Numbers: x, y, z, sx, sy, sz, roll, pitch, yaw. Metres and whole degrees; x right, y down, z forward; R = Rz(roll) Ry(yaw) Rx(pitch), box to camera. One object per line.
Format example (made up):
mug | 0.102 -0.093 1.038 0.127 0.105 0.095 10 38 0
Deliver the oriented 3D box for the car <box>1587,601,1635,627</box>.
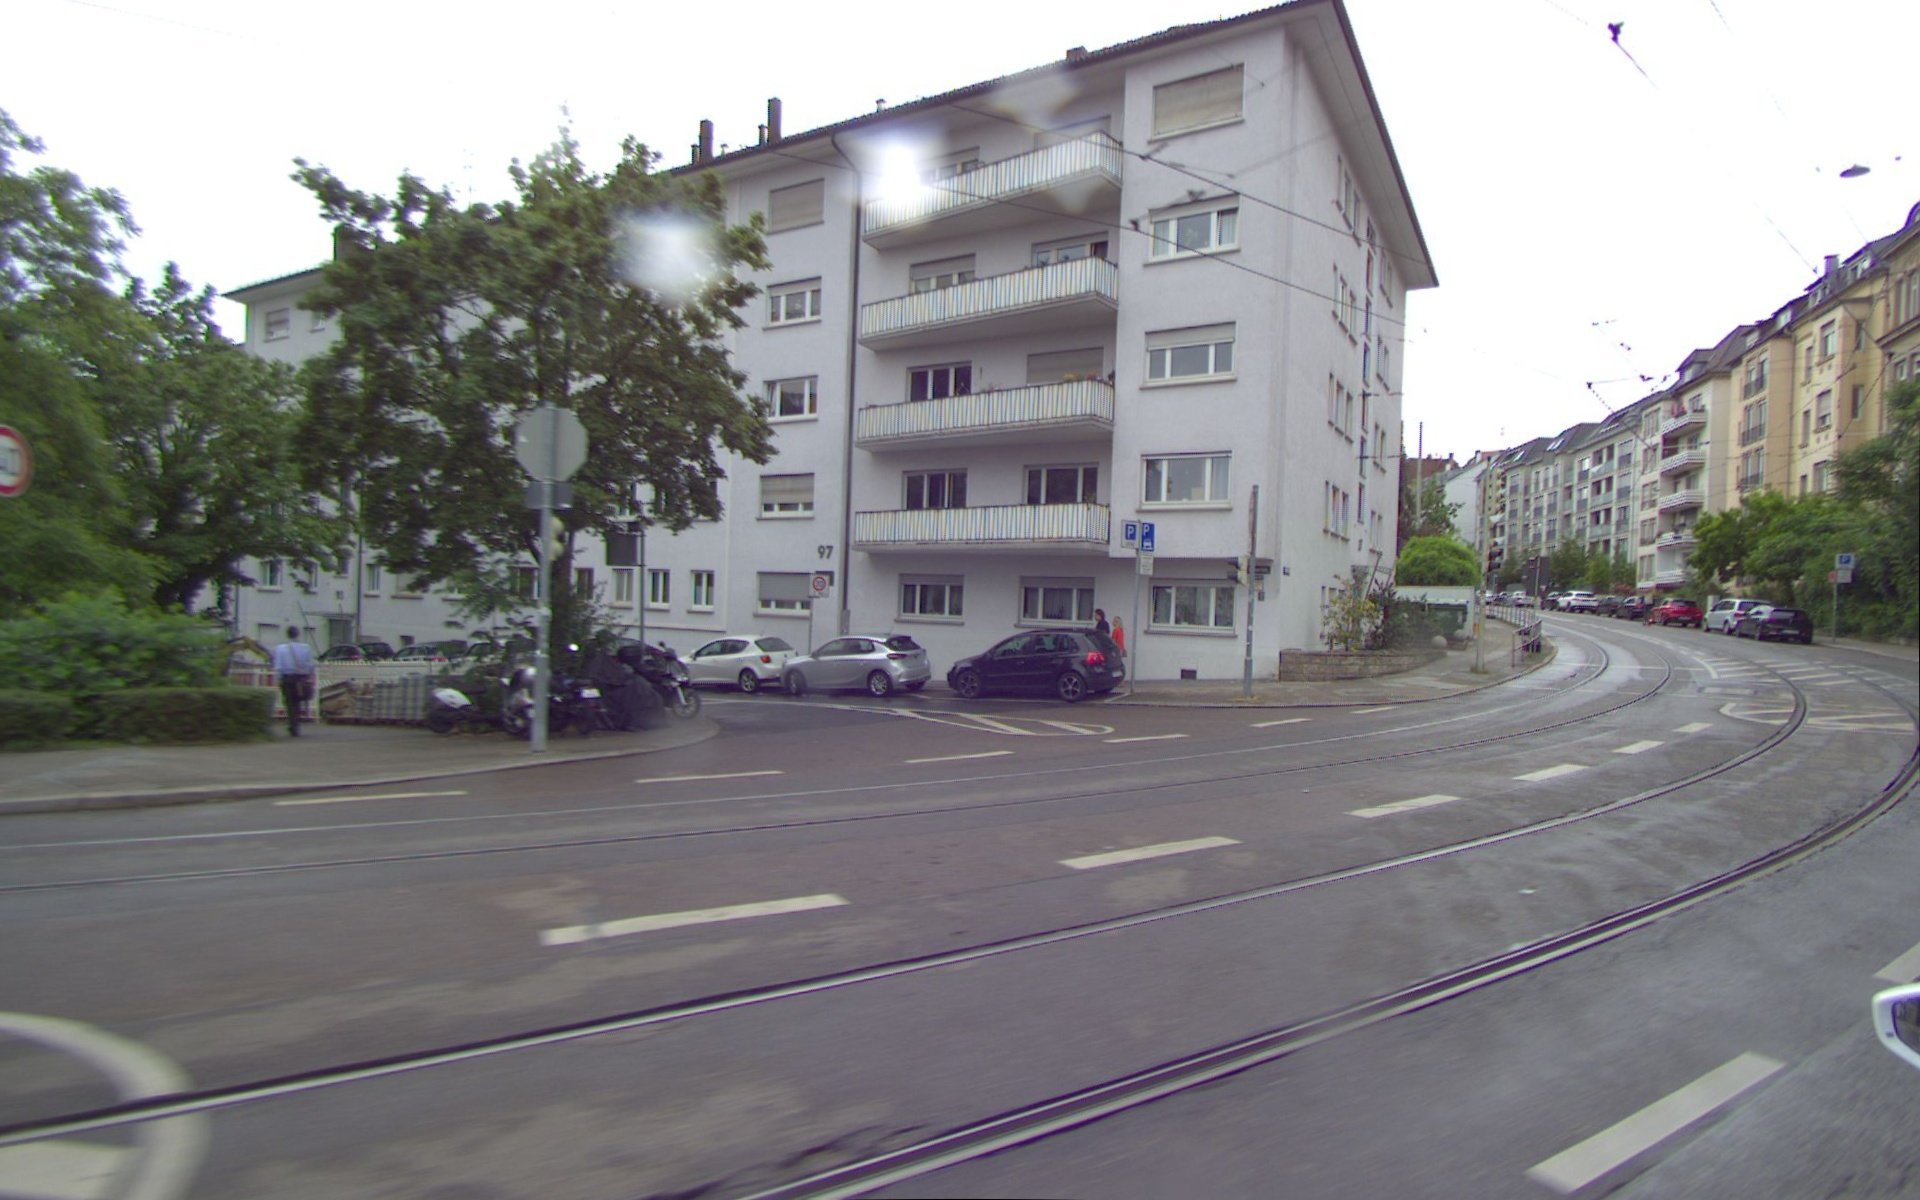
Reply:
car | 43.667 0.901 67.450 1.530 1.456 4.303 3 2 18

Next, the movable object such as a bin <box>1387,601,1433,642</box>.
movable object such as a bin | 16.098 0.754 35.900 1.349 1.354 1.322 1 3 31

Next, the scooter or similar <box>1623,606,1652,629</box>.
scooter or similar | 36.050 0.925 53.493 0.505 1.063 2.009 5 3 13

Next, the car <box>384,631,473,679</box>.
car | -18.145 1.841 34.286 3.010 1.460 1.391 1 0 33

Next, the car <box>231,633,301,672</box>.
car | -29.099 2.162 42.116 3.010 1.460 1.391 1 0 33

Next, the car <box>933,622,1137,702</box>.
car | 1.650 1.313 22.439 4.178 1.474 1.851 0 2 32

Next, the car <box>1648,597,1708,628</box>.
car | 38.706 0.628 54.234 1.694 1.456 3.839 4 2 22

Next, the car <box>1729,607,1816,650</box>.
car | 33.440 1.125 41.458 1.738 1.410 3.996 4 4 24

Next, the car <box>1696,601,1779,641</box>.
car | 35.608 0.930 46.134 1.737 1.625 4.287 2 1 20

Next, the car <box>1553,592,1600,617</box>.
car | 46.215 0.293 75.369 1.806 1.594 4.249 5 3 16

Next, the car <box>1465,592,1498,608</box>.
car | 53.346 0.019 102.853 1.732 1.454 4.641 2 2 11

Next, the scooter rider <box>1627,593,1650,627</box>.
scooter rider | 36.028 0.519 53.350 0.612 1.728 0.844 5 3 13

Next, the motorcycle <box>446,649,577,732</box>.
motorcycle | -6.569 1.296 14.690 2.083 1.063 0.485 1 2 24

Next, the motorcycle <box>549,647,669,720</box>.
motorcycle | -5.778 1.349 16.499 2.083 1.063 0.485 1 3 24

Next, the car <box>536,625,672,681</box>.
car | -10.395 1.500 29.311 3.681 1.460 1.702 1 0 29

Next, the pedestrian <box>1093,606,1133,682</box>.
pedestrian | 3.619 1.022 23.721 0.733 1.723 0.671 1 3 35

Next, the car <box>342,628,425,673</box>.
car | -20.876 1.807 36.331 3.010 1.460 1.391 1 0 33

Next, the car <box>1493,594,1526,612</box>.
car | 52.044 0.276 95.231 1.672 1.532 3.715 4 3 13

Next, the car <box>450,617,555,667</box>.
car | -14.640 1.304 32.121 3.268 1.460 1.522 1 0 33

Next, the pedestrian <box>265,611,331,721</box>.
pedestrian | -10.566 1.040 16.054 0.764 1.706 0.567 1 -1 -22

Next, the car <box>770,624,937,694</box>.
car | -2.640 1.398 24.757 3.821 1.474 1.651 0 2 29

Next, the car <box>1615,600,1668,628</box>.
car | 41.657 0.815 61.493 1.655 1.456 4.063 3 2 20

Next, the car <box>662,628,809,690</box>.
car | -6.037 1.527 26.978 3.681 1.460 1.617 1 0 29

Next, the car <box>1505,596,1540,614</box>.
car | 50.852 0.428 90.873 1.633 1.491 4.509 4 2 15

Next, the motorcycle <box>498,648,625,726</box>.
motorcycle | -6.149 1.319 15.474 2.083 1.063 0.485 1 3 24

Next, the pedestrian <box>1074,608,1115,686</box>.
pedestrian | 3.100 1.065 23.146 0.732 1.723 0.672 1 3 31

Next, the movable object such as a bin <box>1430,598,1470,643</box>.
movable object such as a bin | 17.182 0.705 35.214 1.168 1.481 1.287 1 2 31

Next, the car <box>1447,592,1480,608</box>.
car | 55.828 0.008 111.397 1.736 1.637 4.249 2 2 5

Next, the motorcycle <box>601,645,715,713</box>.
motorcycle | -5.319 1.371 17.644 2.083 1.063 0.485 1 3 24
